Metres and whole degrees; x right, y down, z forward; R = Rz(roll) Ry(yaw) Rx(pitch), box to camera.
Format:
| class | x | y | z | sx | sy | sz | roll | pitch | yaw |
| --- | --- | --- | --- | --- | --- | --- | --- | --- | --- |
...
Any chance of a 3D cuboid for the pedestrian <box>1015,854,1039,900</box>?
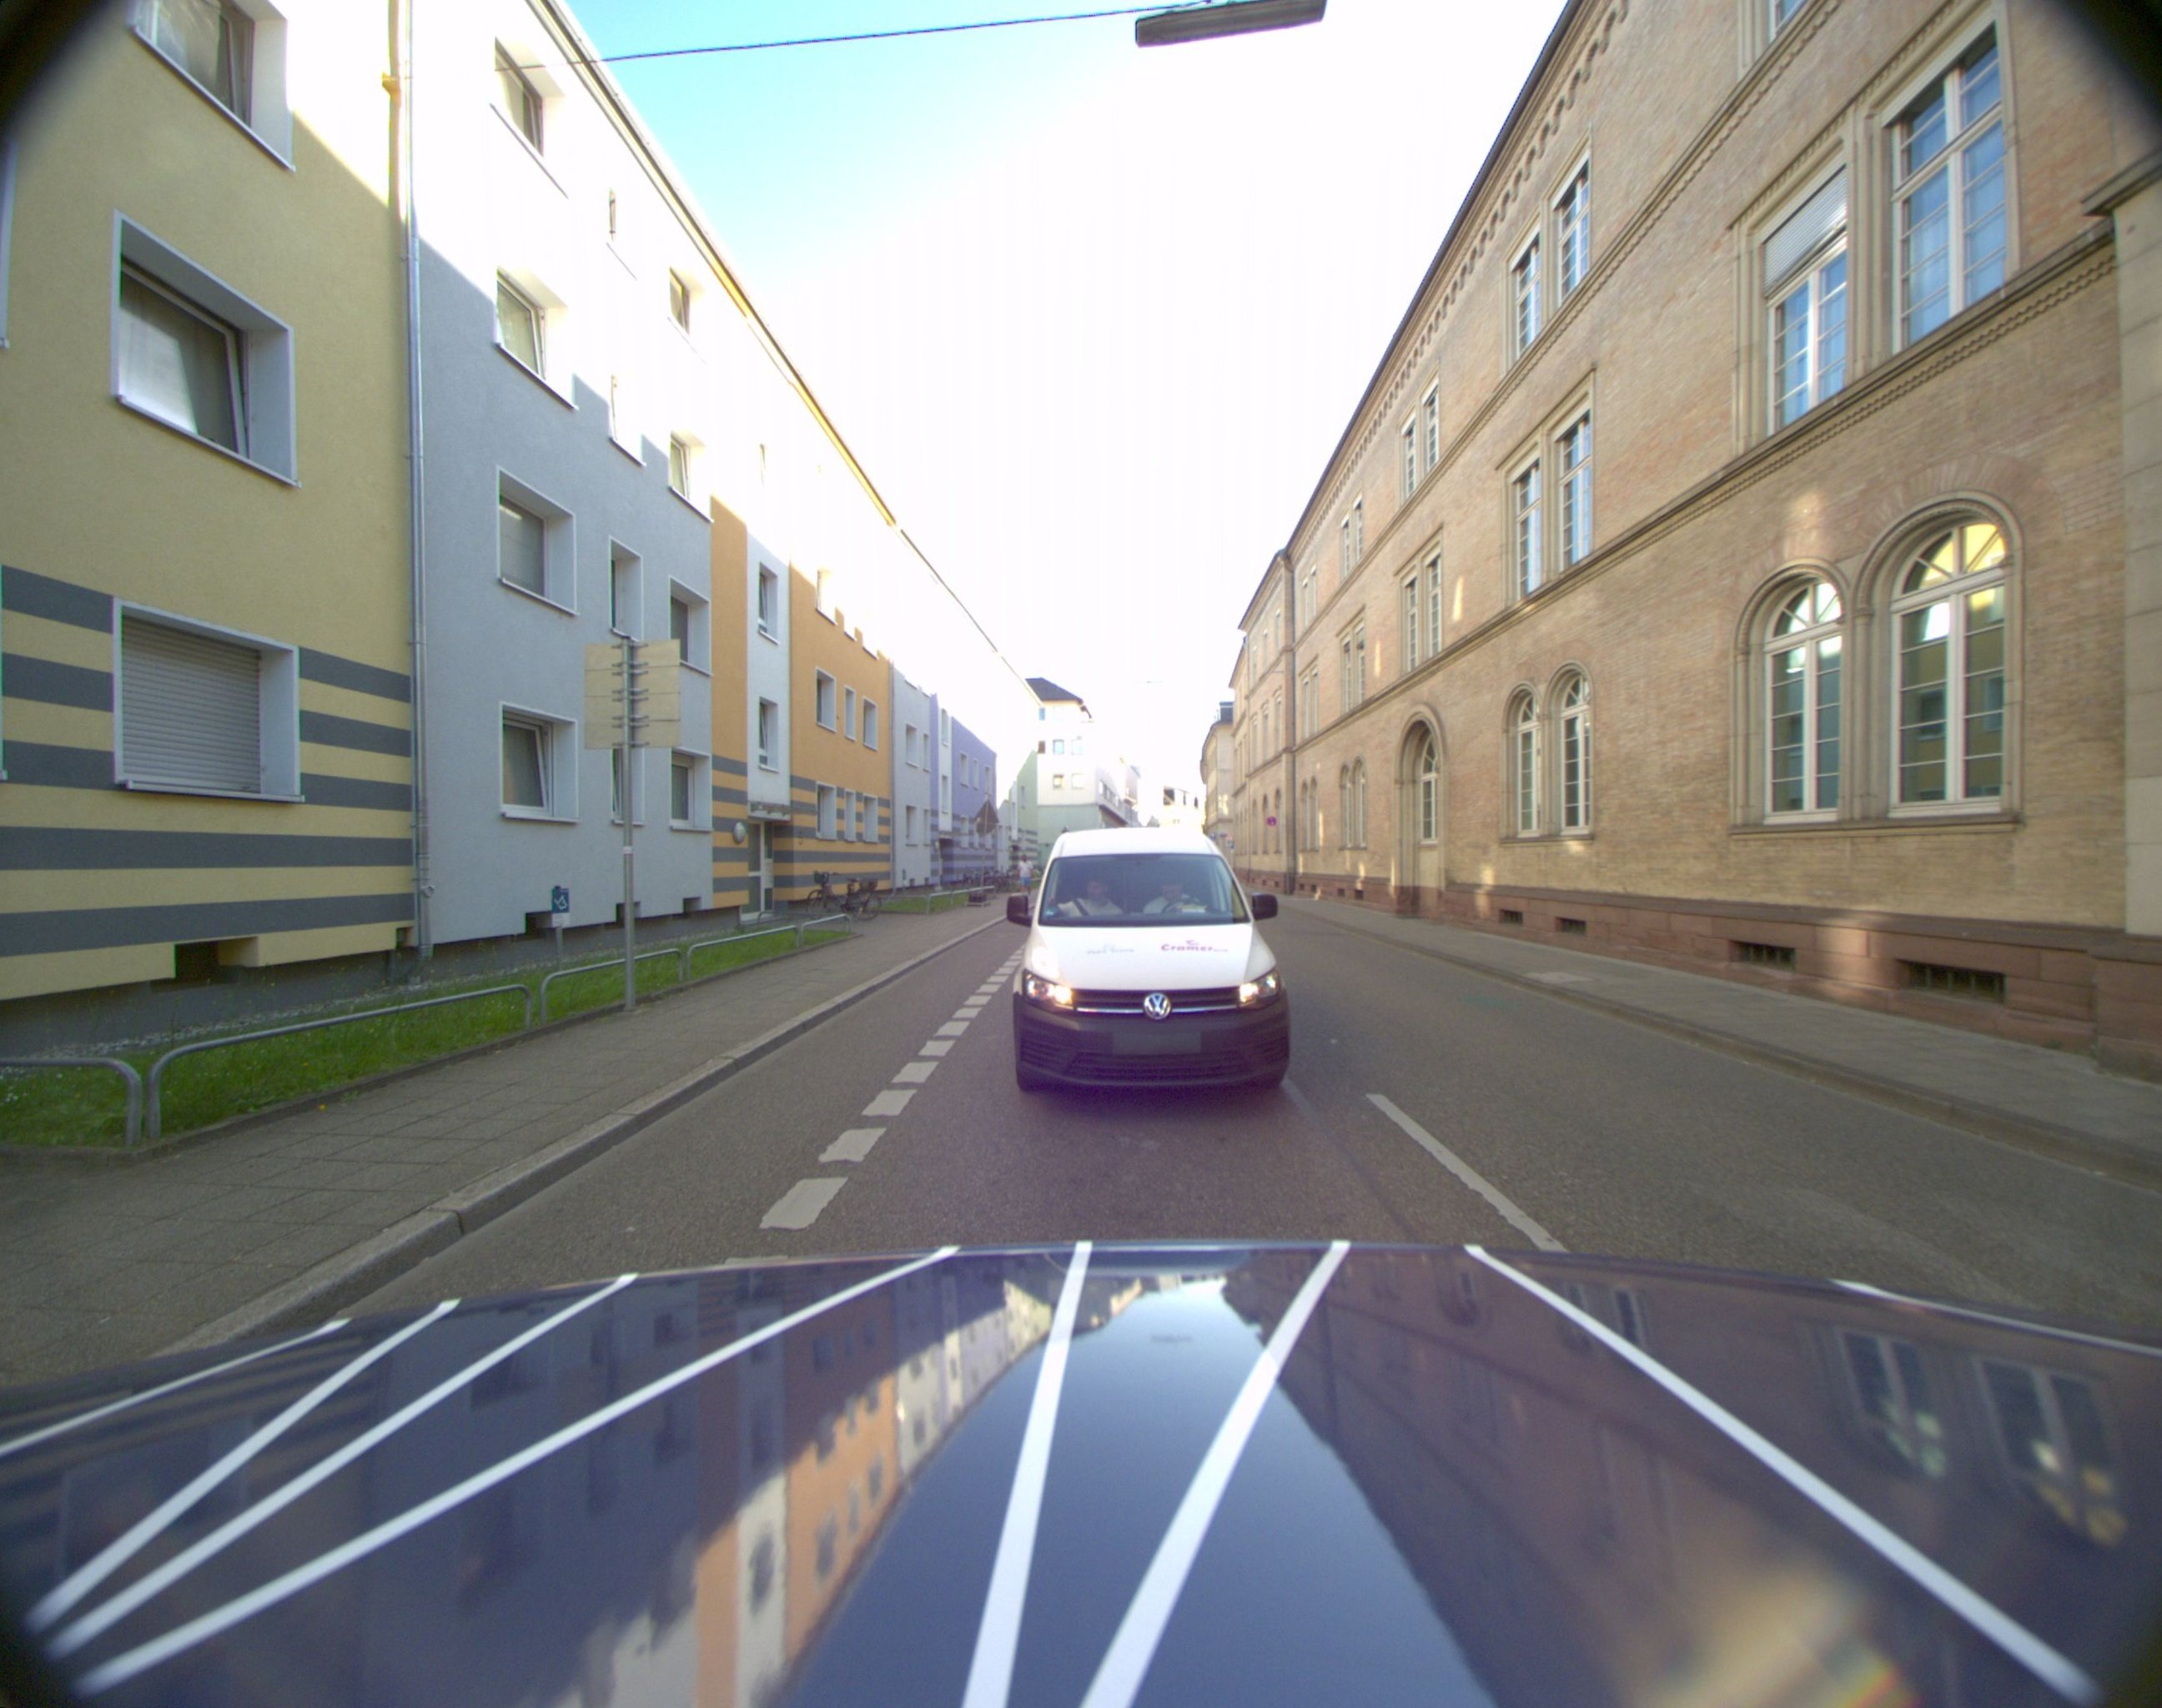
| class | x | y | z | sx | sy | sz | roll | pitch | yaw |
| --- | --- | --- | --- | --- | --- | --- | --- | --- | --- |
| pedestrian | -1.999 | 0.846 | 28.234 | 0.705 | 1.627 | 0.833 | 2 | 2 | 5 |

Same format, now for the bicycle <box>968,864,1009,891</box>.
| class | x | y | z | sx | sy | sz | roll | pitch | yaw |
| --- | --- | --- | --- | --- | --- | --- | --- | --- | --- |
| bicycle | -4.026 | 1.013 | 33.140 | 1.676 | 1.145 | 0.484 | 0 | 0 | 4 |

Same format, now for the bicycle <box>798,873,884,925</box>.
| class | x | y | z | sx | sy | sz | roll | pitch | yaw |
| --- | --- | --- | --- | --- | --- | --- | --- | --- | --- |
| bicycle | -5.380 | 1.011 | 17.110 | 1.780 | 1.116 | 0.484 | 0 | 0 | -5 |

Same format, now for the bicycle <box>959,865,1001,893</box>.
| class | x | y | z | sx | sy | sz | roll | pitch | yaw |
| --- | --- | --- | --- | --- | --- | --- | --- | --- | --- |
| bicycle | -4.230 | 1.040 | 31.846 | 1.676 | 1.145 | 0.484 | 0 | 0 | 4 |

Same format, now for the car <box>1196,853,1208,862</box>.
| class | x | y | z | sx | sy | sz | roll | pitch | yaw |
| --- | --- | --- | --- | --- | --- | --- | --- | --- | --- |
| car | 26.104 | 0.750 | 163.757 | 1.996 | 1.643 | 4.233 | -2 | 1 | 17 |

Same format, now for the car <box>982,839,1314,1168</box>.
| class | x | y | z | sx | sy | sz | roll | pitch | yaw |
| --- | --- | --- | --- | --- | --- | --- | --- | --- | --- |
| car | 0.399 | 0.777 | 6.756 | 1.769 | 1.761 | 5.331 | -1 | 1 | 1 |

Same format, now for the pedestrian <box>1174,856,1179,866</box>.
| class | x | y | z | sx | sy | sz | roll | pitch | yaw |
| --- | --- | --- | --- | --- | --- | --- | --- | --- | --- |
| pedestrian | 15.790 | 1.130 | 125.429 | 0.704 | 1.627 | 0.833 | 3 | 2 | 14 |

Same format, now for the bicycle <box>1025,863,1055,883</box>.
| class | x | y | z | sx | sy | sz | roll | pitch | yaw |
| --- | --- | --- | --- | --- | --- | --- | --- | --- | --- |
| bicycle | -2.509 | 1.142 | 46.057 | 1.779 | 1.145 | 0.484 | 0 | 0 | 0 |

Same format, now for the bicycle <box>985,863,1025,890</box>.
| class | x | y | z | sx | sy | sz | roll | pitch | yaw |
| --- | --- | --- | --- | --- | --- | --- | --- | --- | --- |
| bicycle | -3.367 | 0.996 | 33.686 | 1.676 | 1.145 | 0.484 | 0 | 0 | 4 |

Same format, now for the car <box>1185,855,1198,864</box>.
| class | x | y | z | sx | sy | sz | roll | pitch | yaw |
| --- | --- | --- | --- | --- | --- | --- | --- | --- | --- |
| car | 22.120 | 1.038 | 152.026 | 1.996 | 1.643 | 4.233 | -2 | 1 | 17 |
